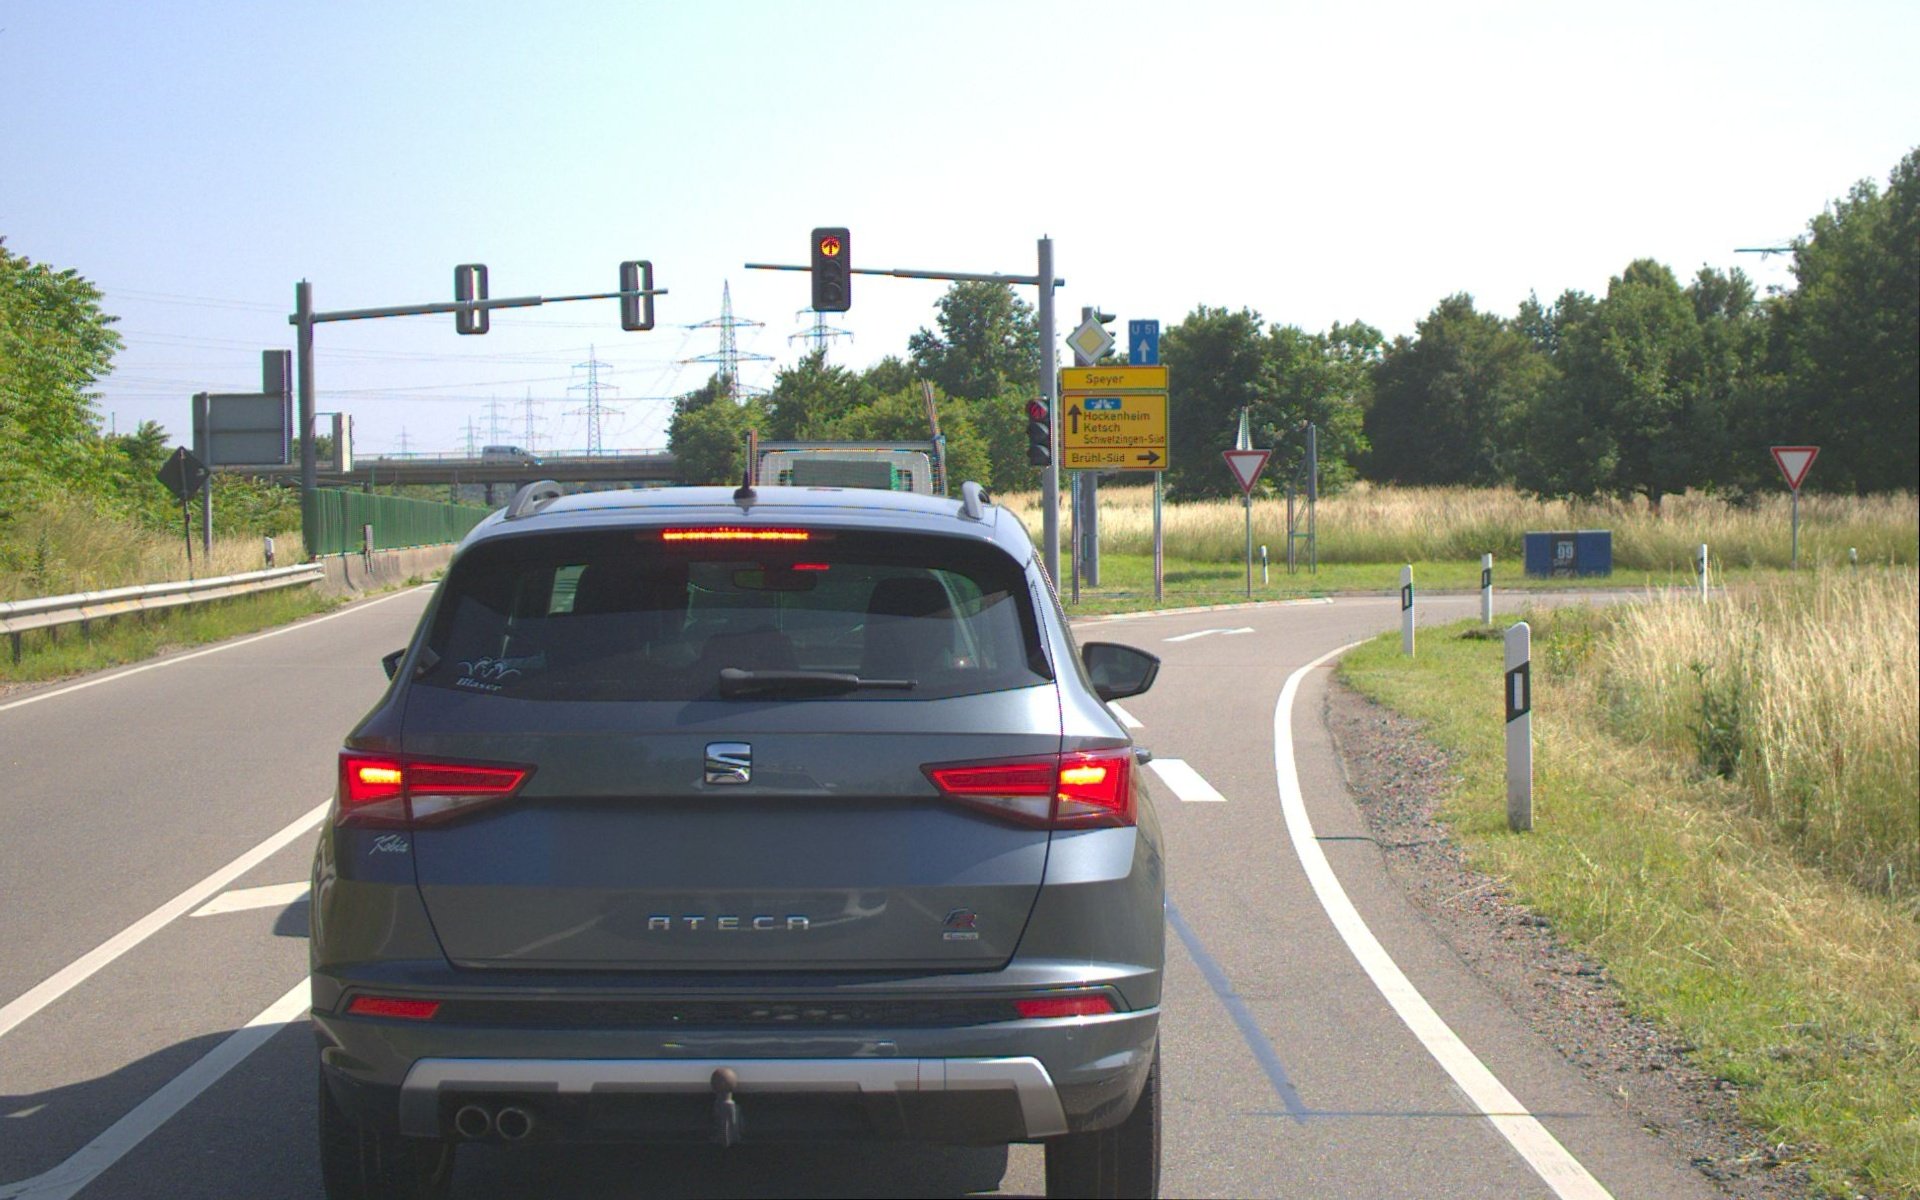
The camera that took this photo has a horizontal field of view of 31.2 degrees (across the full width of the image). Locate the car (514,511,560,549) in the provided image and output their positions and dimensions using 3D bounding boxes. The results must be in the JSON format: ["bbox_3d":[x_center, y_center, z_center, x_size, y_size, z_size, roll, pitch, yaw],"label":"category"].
[{"bbox_3d":[-16.596,-2.747,134.896,1.761,1.426,4.001,-1,2,-7],"label":"car"}]

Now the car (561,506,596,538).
[{"bbox_3d":[-23.837,-4.908,214.924,1.963,1.945,4.999,-1,2,-8],"label":"car"}]

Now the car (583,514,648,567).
[{"bbox_3d":[-9.226,-1.601,91.955,1.684,1.375,3.534,0,2,-6],"label":"car"}]

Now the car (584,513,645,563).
[{"bbox_3d":[-9.844,-1.779,97.961,1.684,1.375,3.534,0,2,-6],"label":"car"}]

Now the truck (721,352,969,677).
[{"bbox_3d":[-1.174,-0.848,35.276,2.337,3.055,5.810,0,1,-2],"label":"truck"}]

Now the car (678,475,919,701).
[{"bbox_3d":[-1.314,-0.156,27.726,1.785,1.670,4.001,-1,2,-3],"label":"car"}]

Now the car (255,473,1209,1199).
[{"bbox_3d":[-0.528,0.519,8.508,1.785,1.623,4.001,-1,2,-3],"label":"car"}]

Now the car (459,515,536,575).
[{"bbox_3d":[-11.520,-1.397,85.824,1.824,1.426,4.001,-1,2,-7],"label":"car"}]

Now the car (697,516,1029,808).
[{"bbox_3d":[-0.630,0.286,20.668,1.785,1.538,4.001,-1,2,-3],"label":"car"}]

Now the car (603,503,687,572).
[{"bbox_3d":[-7.271,-1.458,79.213,1.816,1.535,4.001,-1,2,-6],"label":"car"}]
